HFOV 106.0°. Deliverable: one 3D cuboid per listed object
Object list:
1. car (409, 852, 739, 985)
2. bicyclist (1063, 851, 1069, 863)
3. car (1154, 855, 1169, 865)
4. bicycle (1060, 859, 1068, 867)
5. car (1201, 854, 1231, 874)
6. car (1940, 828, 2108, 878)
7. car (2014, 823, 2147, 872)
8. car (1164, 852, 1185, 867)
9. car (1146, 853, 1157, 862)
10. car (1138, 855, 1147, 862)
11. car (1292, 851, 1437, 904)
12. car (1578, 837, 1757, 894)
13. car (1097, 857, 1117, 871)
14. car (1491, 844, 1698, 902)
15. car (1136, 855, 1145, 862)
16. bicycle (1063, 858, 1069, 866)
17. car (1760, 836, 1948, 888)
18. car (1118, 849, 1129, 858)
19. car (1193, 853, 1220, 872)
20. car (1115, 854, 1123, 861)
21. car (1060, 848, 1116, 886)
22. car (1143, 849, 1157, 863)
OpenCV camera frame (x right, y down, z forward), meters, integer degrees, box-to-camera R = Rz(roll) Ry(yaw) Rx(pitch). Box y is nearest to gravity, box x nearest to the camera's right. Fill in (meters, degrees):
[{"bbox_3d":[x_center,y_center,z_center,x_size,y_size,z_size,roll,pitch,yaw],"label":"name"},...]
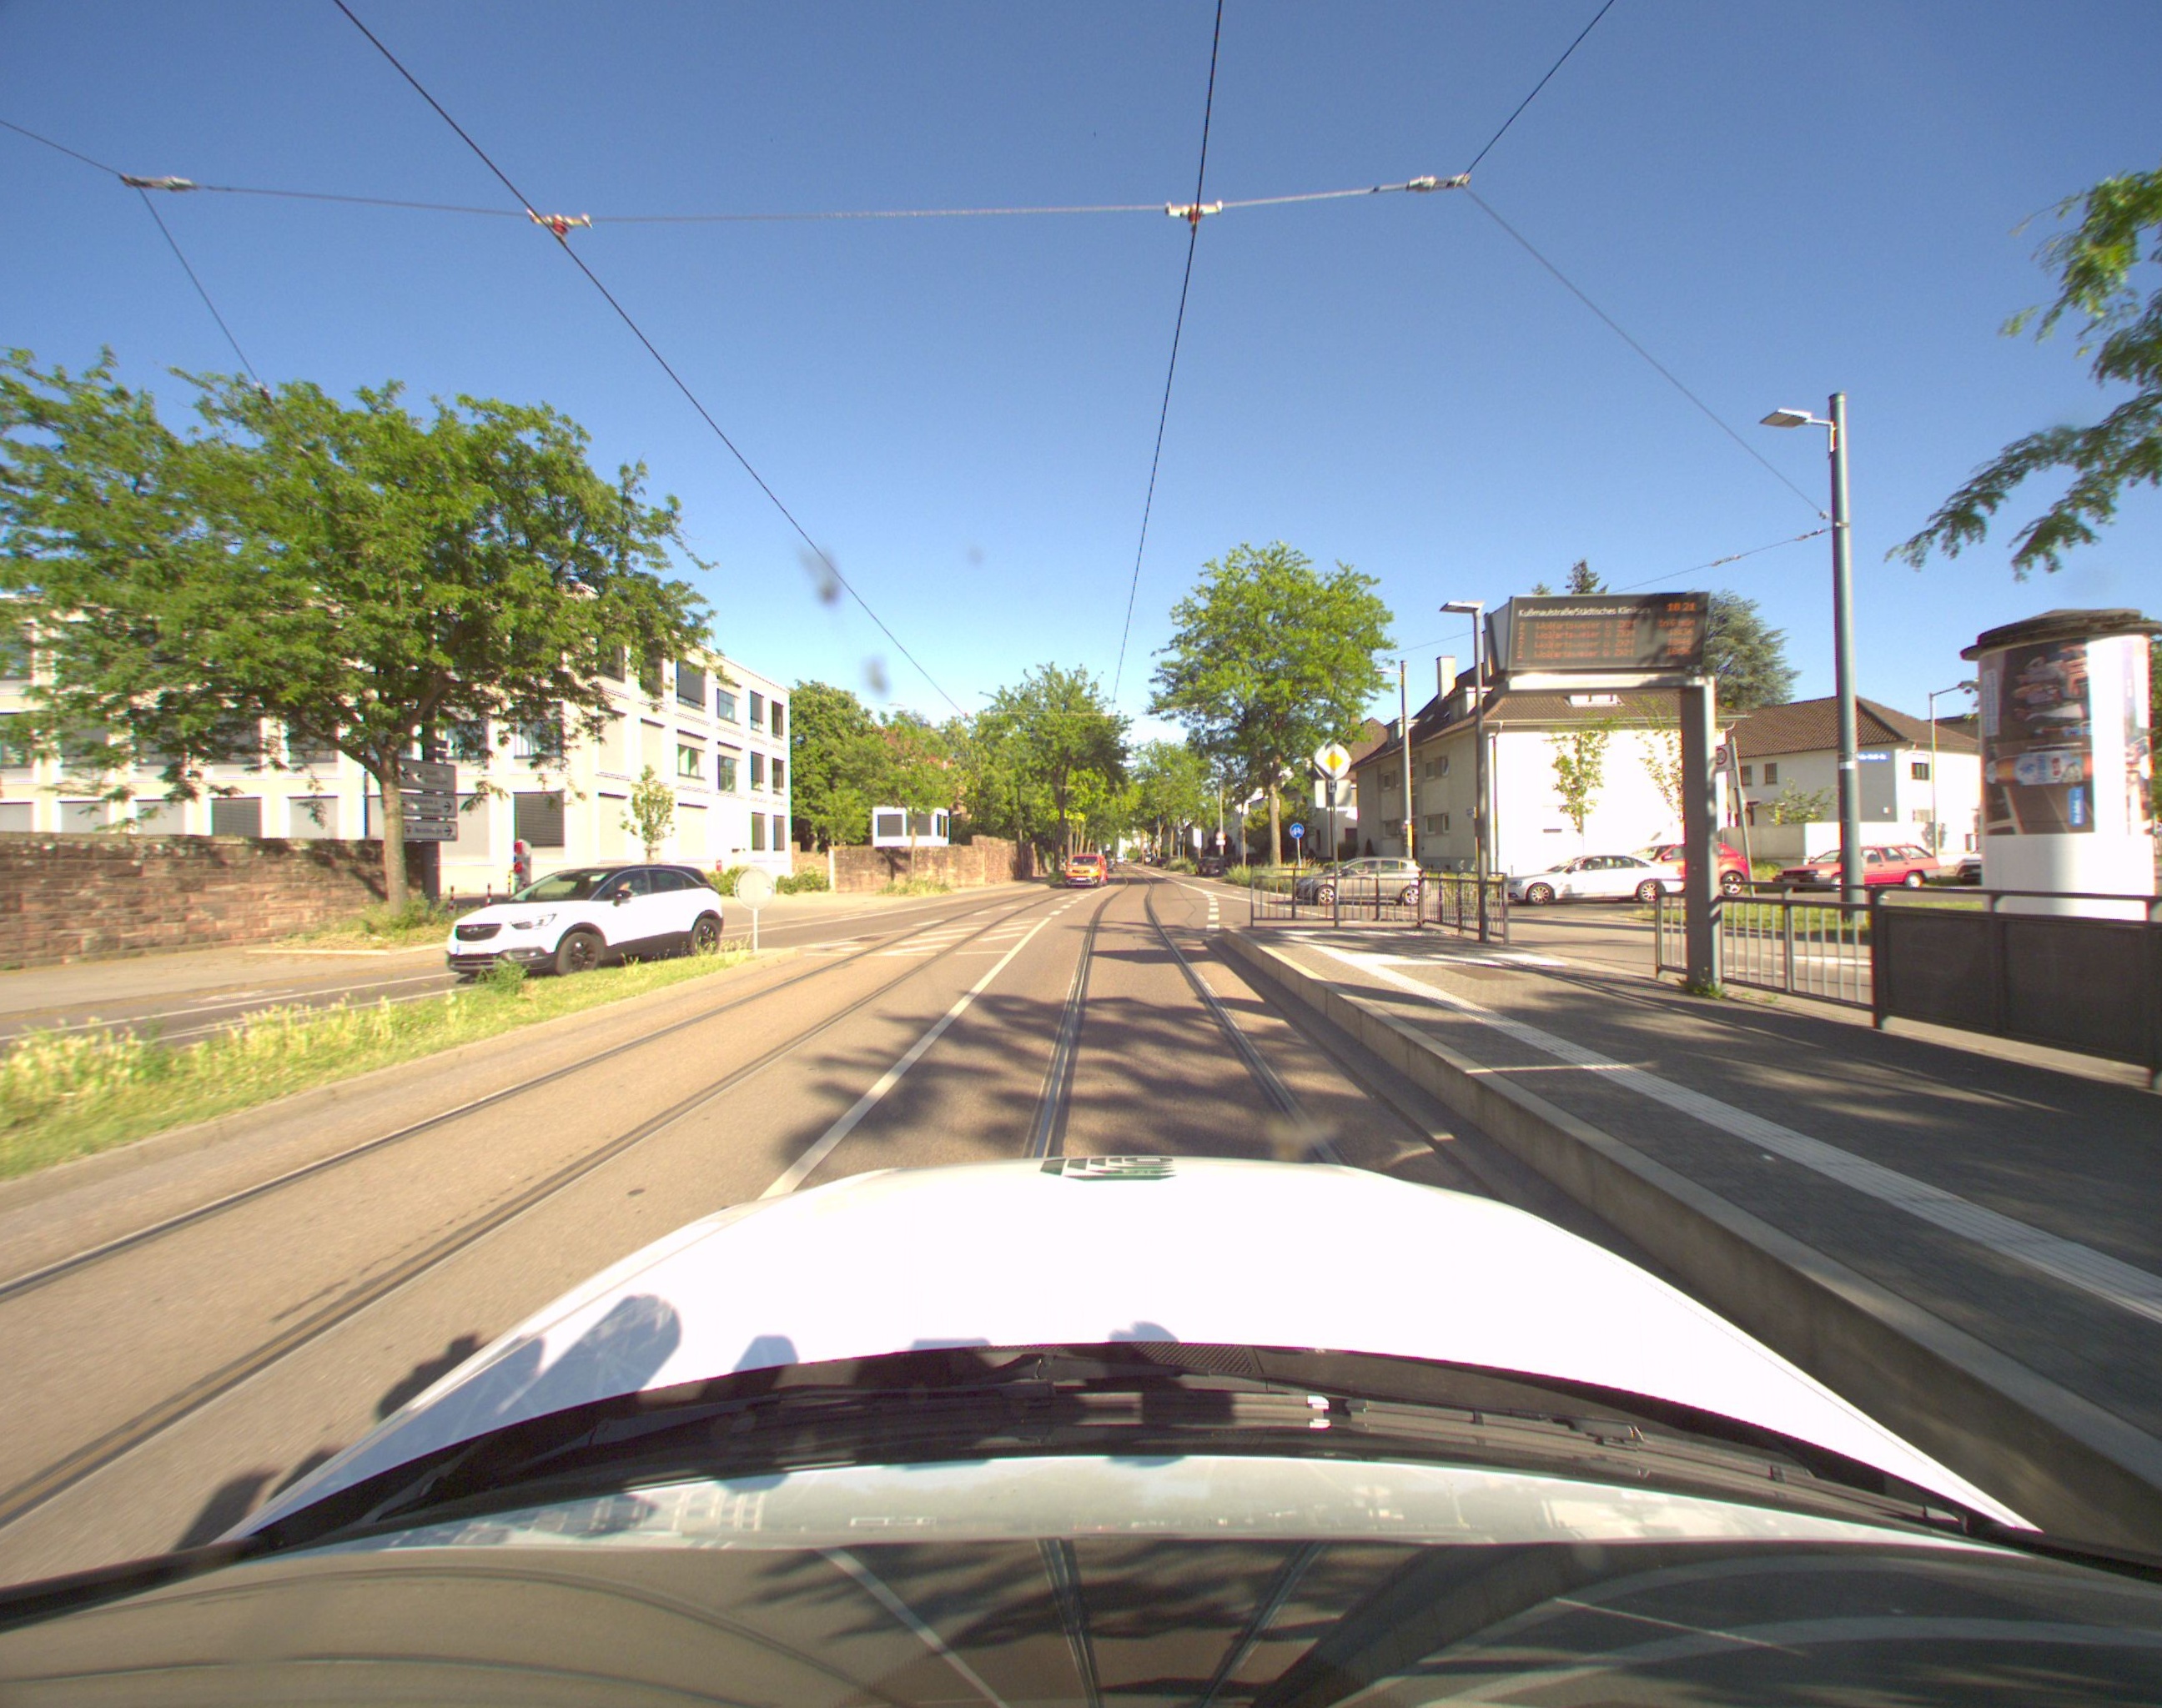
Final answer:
[{"bbox_3d":[-7.435,0.834,12.540,1.752,1.663,4.226,-2,0,14],"label":"car"},{"bbox_3d":[-1.837,0.410,101.746,0.591,1.527,1.062,-2,0,3],"label":"bicyclist"},{"bbox_3d":[12.712,0.909,128.970,1.778,1.448,4.300,-4,0,0],"label":"car"},{"bbox_3d":[-2.033,1.093,97.563,0.708,0.960,2.096,-2,0,3],"label":"bicycle"},{"bbox_3d":[10.565,0.767,64.070,1.742,1.495,4.445,-2,0,2],"label":"car"},{"bbox_3d":[30.465,-0.041,26.353,4.171,1.508,1.971,-1,0,-16],"label":"car"},{"bbox_3d":[34.494,-0.207,28.107,4.006,1.574,1.984,0,0,-25],"label":"car"},{"bbox_3d":[11.756,0.706,102.694,1.987,1.704,4.478,-4,0,1],"label":"car"},{"bbox_3d":[11.975,0.647,138.609,1.621,1.397,3.646,-4,0,1],"label":"car"},{"bbox_3d":[14.515,1.085,192.276,1.995,1.675,4.394,-3,0,2],"label":"car"},{"bbox_3d":[8.610,0.707,25.089,3.961,1.508,1.988,-1,0,11],"label":"car"},{"bbox_3d":[18.165,0.342,25.364,4.149,1.642,1.982,-1,0,0],"label":"car"},{"bbox_3d":[2.938,1.071,92.540,1.984,1.524,4.586,-1,0,5],"label":"car"},{"bbox_3d":[14.470,0.562,23.264,4.570,1.466,1.989,-2,-2,14],"label":"car"},{"bbox_3d":[15.331,1.036,209.694,1.993,1.675,4.399,-3,0,6],"label":"car"},{"bbox_3d":[-1.820,1.013,101.765,0.587,0.960,2.134,-2,0,3],"label":"bicycle"},{"bbox_3d":[24.131,0.249,25.522,4.154,1.508,1.979,-1,0,-4],"label":"car"},{"bbox_3d":[12.437,-0.060,238.687,1.994,2.458,4.491,-2,0,-11],"label":"car"},{"bbox_3d":[10.785,0.731,70.104,1.742,1.495,3.998,-2,0,2],"label":"car"},{"bbox_3d":[9.545,0.753,203.193,1.859,1.675,4.175,-2,0,2],"label":"car"},{"bbox_3d":[0.458,0.712,45.567,1.979,1.966,4.953,-1,0,14],"label":"car"},{"bbox_3d":[13.572,0.418,160.161,2.237,2.654,5.587,-1,0,2],"label":"car"}]
